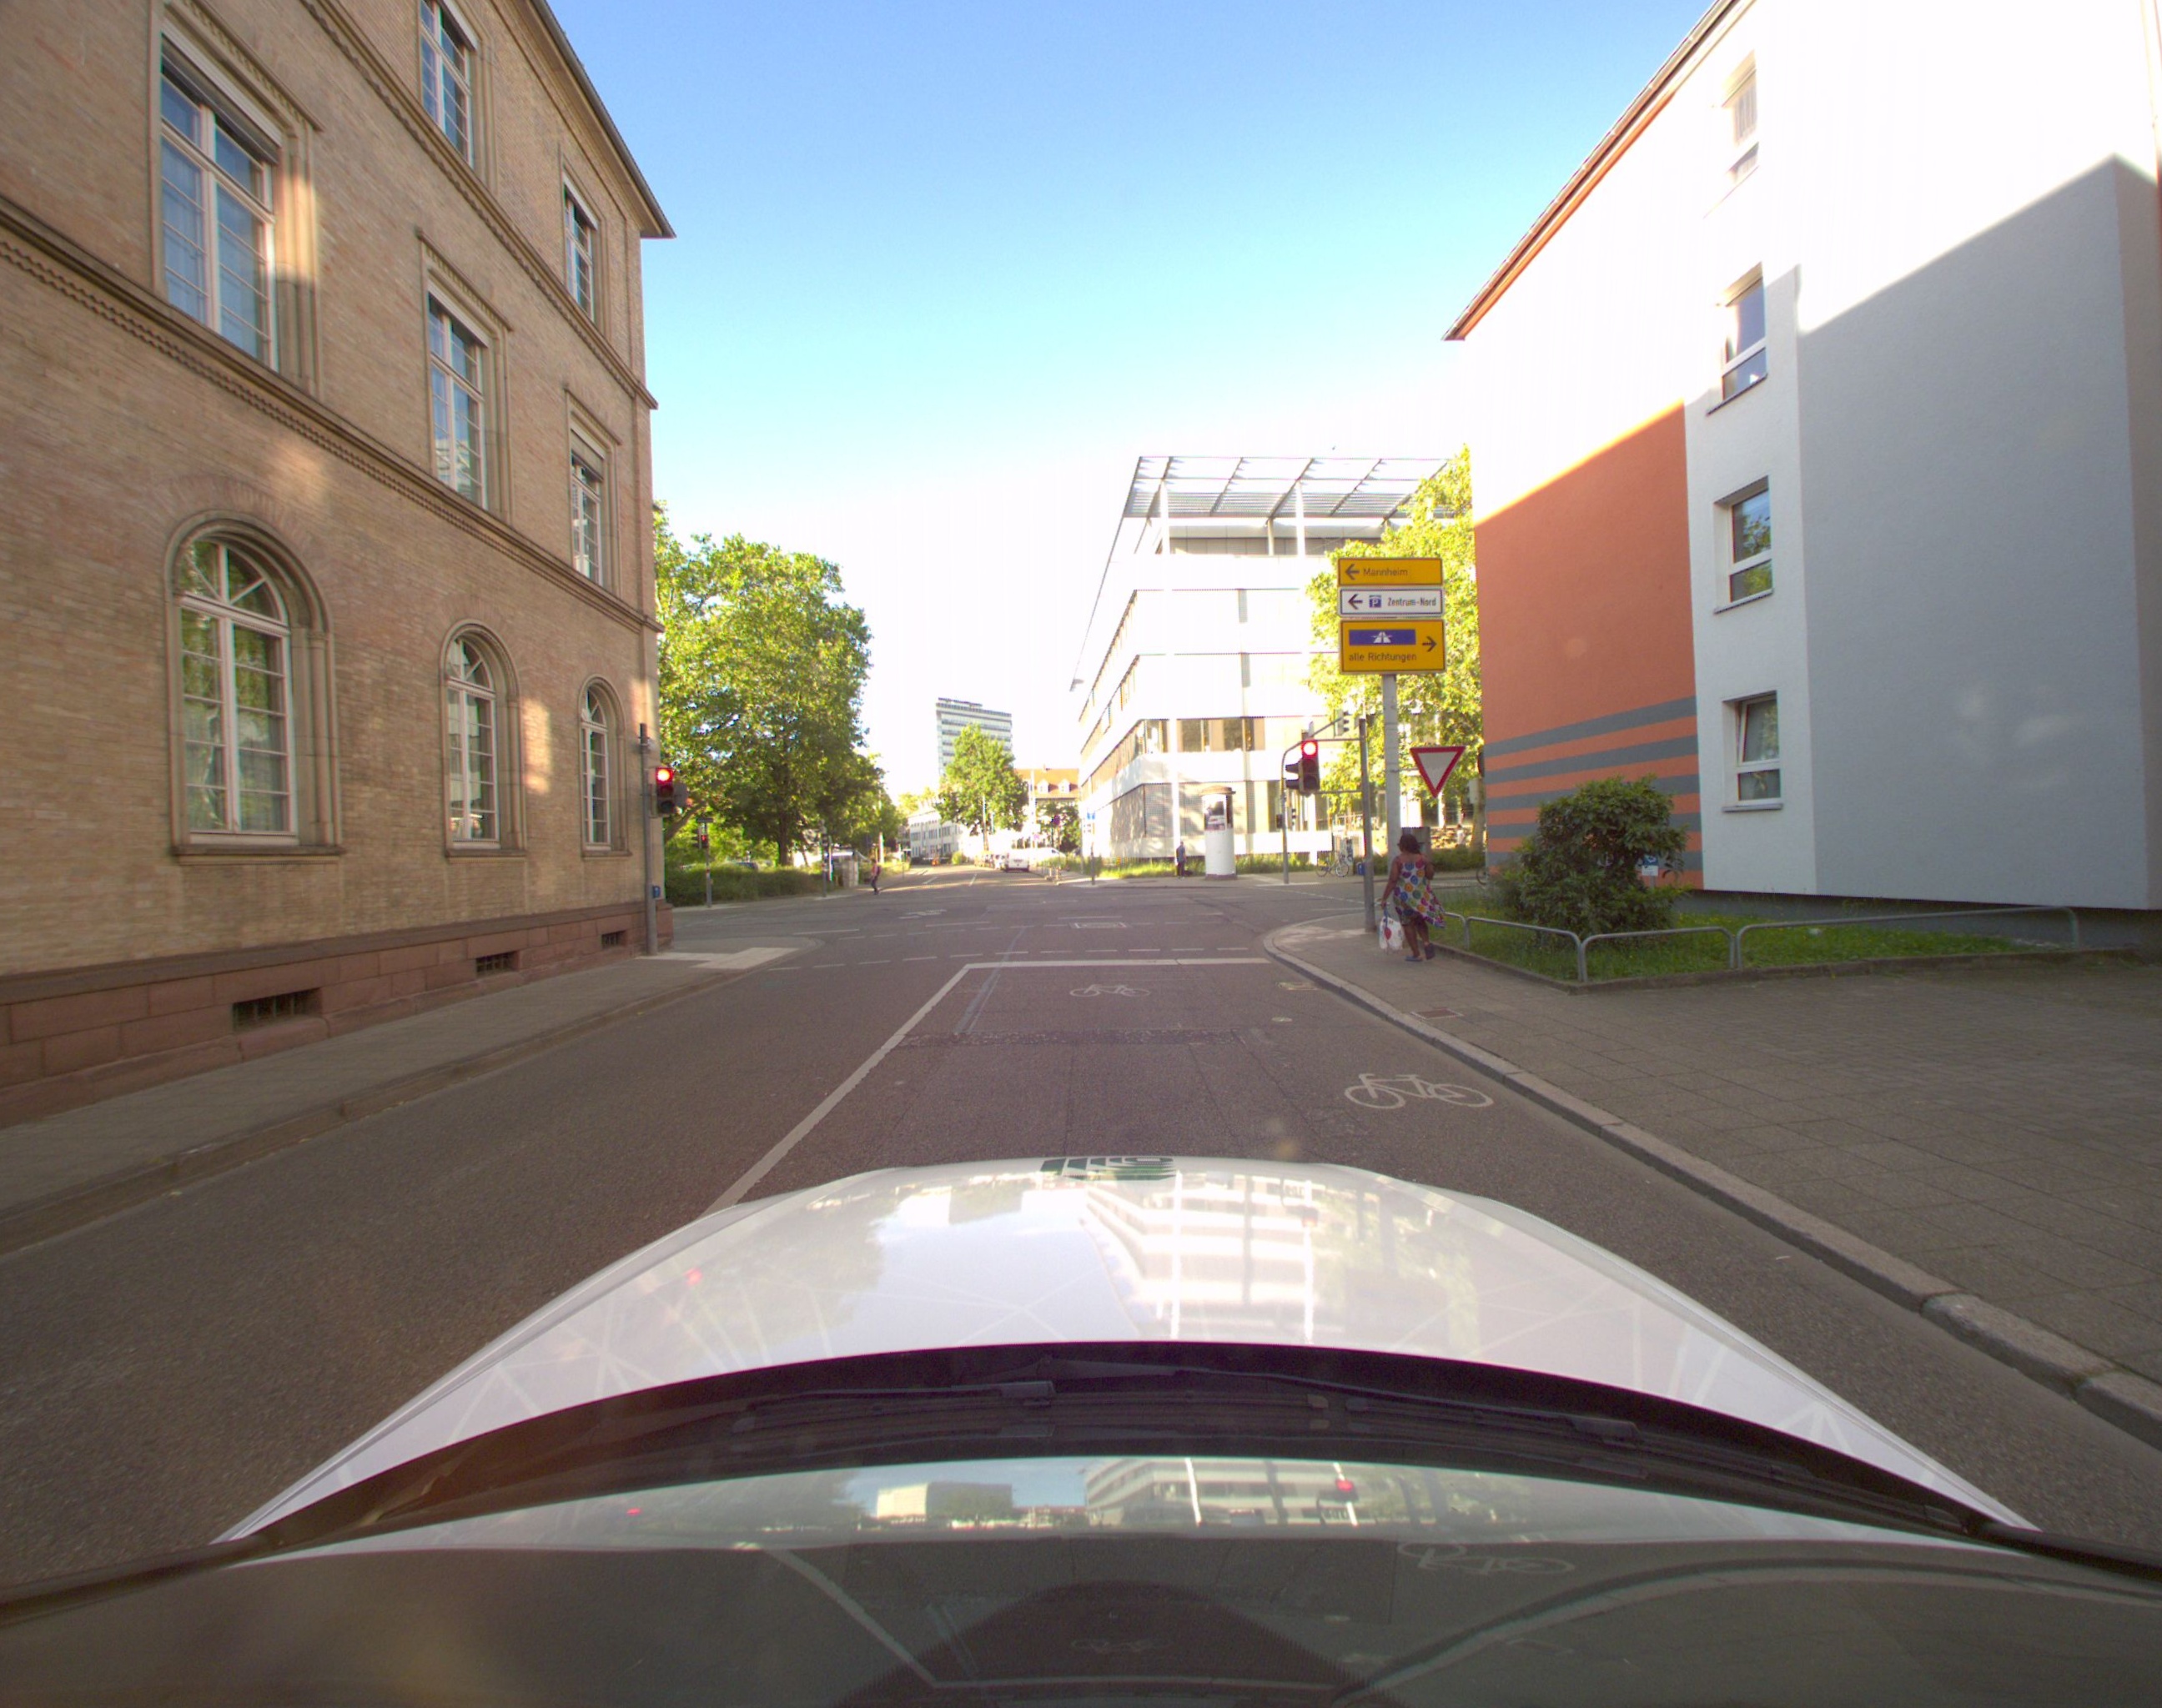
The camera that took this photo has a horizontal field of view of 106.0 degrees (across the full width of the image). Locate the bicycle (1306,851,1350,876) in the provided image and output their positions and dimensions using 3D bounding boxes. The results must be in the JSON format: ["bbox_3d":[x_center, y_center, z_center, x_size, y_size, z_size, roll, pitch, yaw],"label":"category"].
[{"bbox_3d":[10.900,0.442,36.029,0.467,1.049,1.893,-2,0,-40],"label":"bicycle"}]

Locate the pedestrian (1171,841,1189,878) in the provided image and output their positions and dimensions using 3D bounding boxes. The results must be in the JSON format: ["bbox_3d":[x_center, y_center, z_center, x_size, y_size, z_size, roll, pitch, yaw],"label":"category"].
[{"bbox_3d":[4.715,0.261,38.883,0.652,1.736,0.810,-2,0,-7],"label":"pedestrian"}]

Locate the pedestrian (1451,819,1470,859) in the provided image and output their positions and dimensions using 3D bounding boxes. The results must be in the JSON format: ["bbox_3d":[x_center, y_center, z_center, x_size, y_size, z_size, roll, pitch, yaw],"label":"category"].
[{"bbox_3d":[18.127,-0.712,38.863,0.534,1.831,1.044,-2,0,11],"label":"pedestrian"}]

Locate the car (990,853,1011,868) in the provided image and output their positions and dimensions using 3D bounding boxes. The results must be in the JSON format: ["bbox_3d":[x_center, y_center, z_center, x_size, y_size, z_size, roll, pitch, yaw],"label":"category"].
[{"bbox_3d":[-8.075,0.619,81.587,1.705,1.424,4.221,-2,0,-11],"label":"car"}]

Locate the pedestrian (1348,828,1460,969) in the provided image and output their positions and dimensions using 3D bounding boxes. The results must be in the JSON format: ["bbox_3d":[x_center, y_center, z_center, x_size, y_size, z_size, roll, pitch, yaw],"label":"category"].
[{"bbox_3d":[3.924,0.525,9.961,0.950,1.573,0.751,-5,0,3],"label":"pedestrian"}]

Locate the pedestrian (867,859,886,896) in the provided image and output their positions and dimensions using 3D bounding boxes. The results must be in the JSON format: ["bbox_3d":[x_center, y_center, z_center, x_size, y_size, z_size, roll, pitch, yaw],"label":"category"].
[{"bbox_3d":[-9.072,1.016,36.133,0.712,1.599,0.614,-2,0,-13],"label":"pedestrian"}]

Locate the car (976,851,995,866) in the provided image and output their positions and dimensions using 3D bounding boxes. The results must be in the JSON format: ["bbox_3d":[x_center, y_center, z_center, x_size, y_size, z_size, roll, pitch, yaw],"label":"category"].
[{"bbox_3d":[-11.313,0.498,96.156,2.100,1.658,4.461,-2,0,-9],"label":"car"}]

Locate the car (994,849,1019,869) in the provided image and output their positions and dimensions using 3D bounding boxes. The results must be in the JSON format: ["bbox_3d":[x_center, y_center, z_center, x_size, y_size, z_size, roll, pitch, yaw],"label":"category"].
[{"bbox_3d":[-7.085,0.484,76.844,1.947,1.795,4.223,-2,0,-11],"label":"car"}]

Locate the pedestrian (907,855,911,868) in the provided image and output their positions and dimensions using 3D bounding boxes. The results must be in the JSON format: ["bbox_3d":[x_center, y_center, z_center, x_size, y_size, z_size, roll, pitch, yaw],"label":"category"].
[{"bbox_3d":[-21.968,0.954,104.077,0.380,1.534,0.444,-2,0,-10],"label":"pedestrian"}]

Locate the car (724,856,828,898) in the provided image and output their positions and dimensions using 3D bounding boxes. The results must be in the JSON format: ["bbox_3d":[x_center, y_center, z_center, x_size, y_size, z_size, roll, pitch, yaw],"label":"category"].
[{"bbox_3d":[-14.403,1.059,38.670,4.219,1.777,1.901,-2,0,-7],"label":"car"}]

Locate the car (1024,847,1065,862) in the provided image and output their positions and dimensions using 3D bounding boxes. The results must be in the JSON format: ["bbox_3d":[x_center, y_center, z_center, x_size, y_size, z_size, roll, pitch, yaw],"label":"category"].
[{"bbox_3d":[-4.665,0.091,103.162,4.889,1.872,1.990,-1,-1,-15],"label":"car"}]

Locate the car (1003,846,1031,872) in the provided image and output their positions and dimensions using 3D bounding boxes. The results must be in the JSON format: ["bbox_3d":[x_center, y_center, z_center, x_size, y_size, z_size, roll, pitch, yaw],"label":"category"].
[{"bbox_3d":[-5.133,0.400,64.967,2.065,1.963,4.228,-2,0,-7],"label":"car"}]

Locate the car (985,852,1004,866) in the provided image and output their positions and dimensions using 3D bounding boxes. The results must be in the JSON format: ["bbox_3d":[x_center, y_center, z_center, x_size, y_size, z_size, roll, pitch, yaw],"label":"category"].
[{"bbox_3d":[-9.204,0.529,86.275,1.704,1.464,4.225,-2,0,-9],"label":"car"}]
